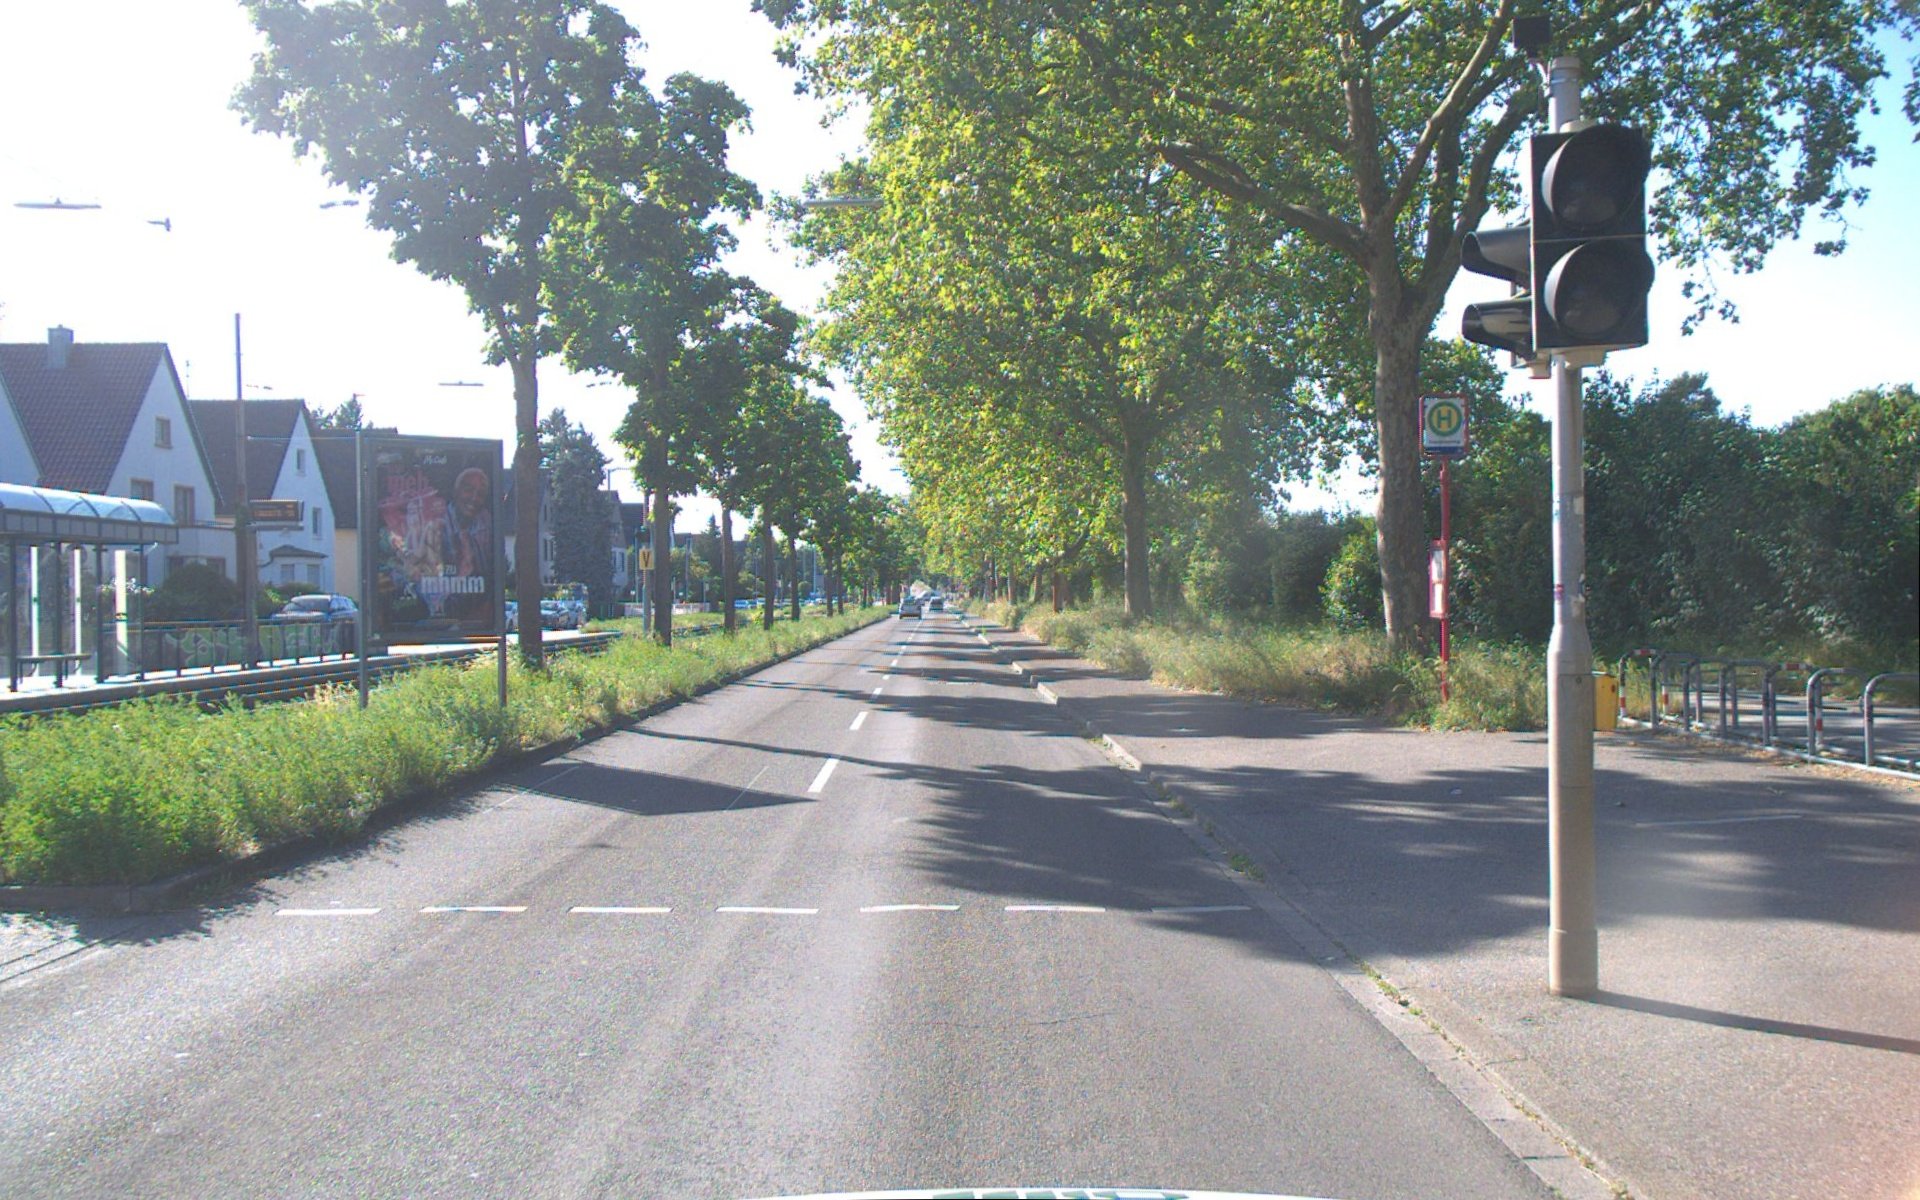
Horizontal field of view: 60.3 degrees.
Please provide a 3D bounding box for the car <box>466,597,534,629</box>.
[{"bbox_3d":[-21.901,0.624,78.937,1.952,1.451,4.410,1,0,1],"label":"car"}]

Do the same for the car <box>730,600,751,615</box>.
[{"bbox_3d":[-23.382,0.813,176.395,1.822,1.569,4.226,1,0,-1],"label":"car"}]

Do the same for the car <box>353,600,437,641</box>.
[{"bbox_3d":[-22.129,0.795,64.946,1.887,1.521,4.255,1,0,-1],"label":"car"}]

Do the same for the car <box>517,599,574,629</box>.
[{"bbox_3d":[-21.946,0.730,87.725,1.953,1.475,4.127,3,0,-1],"label":"car"}]

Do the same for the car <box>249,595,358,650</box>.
[{"bbox_3d":[-21.905,0.744,55.354,1.953,1.743,4.390,1,0,-1],"label":"car"}]

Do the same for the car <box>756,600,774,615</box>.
[{"bbox_3d":[-23.262,0.893,197.210,1.712,1.679,4.554,1,0,-1],"label":"car"}]

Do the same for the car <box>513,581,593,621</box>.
[{"bbox_3d":[-27.961,0.056,113.673,4.926,2.671,2.102,-1,0,-1],"label":"car"}]

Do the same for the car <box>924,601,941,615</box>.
[{"bbox_3d":[-3.188,0.899,190.626,1.953,1.631,4.472,1,0,-1],"label":"car"}]

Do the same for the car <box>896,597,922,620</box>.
[{"bbox_3d":[-3.618,0.599,118.408,1.822,1.629,4.226,1,0,-1],"label":"car"}]
